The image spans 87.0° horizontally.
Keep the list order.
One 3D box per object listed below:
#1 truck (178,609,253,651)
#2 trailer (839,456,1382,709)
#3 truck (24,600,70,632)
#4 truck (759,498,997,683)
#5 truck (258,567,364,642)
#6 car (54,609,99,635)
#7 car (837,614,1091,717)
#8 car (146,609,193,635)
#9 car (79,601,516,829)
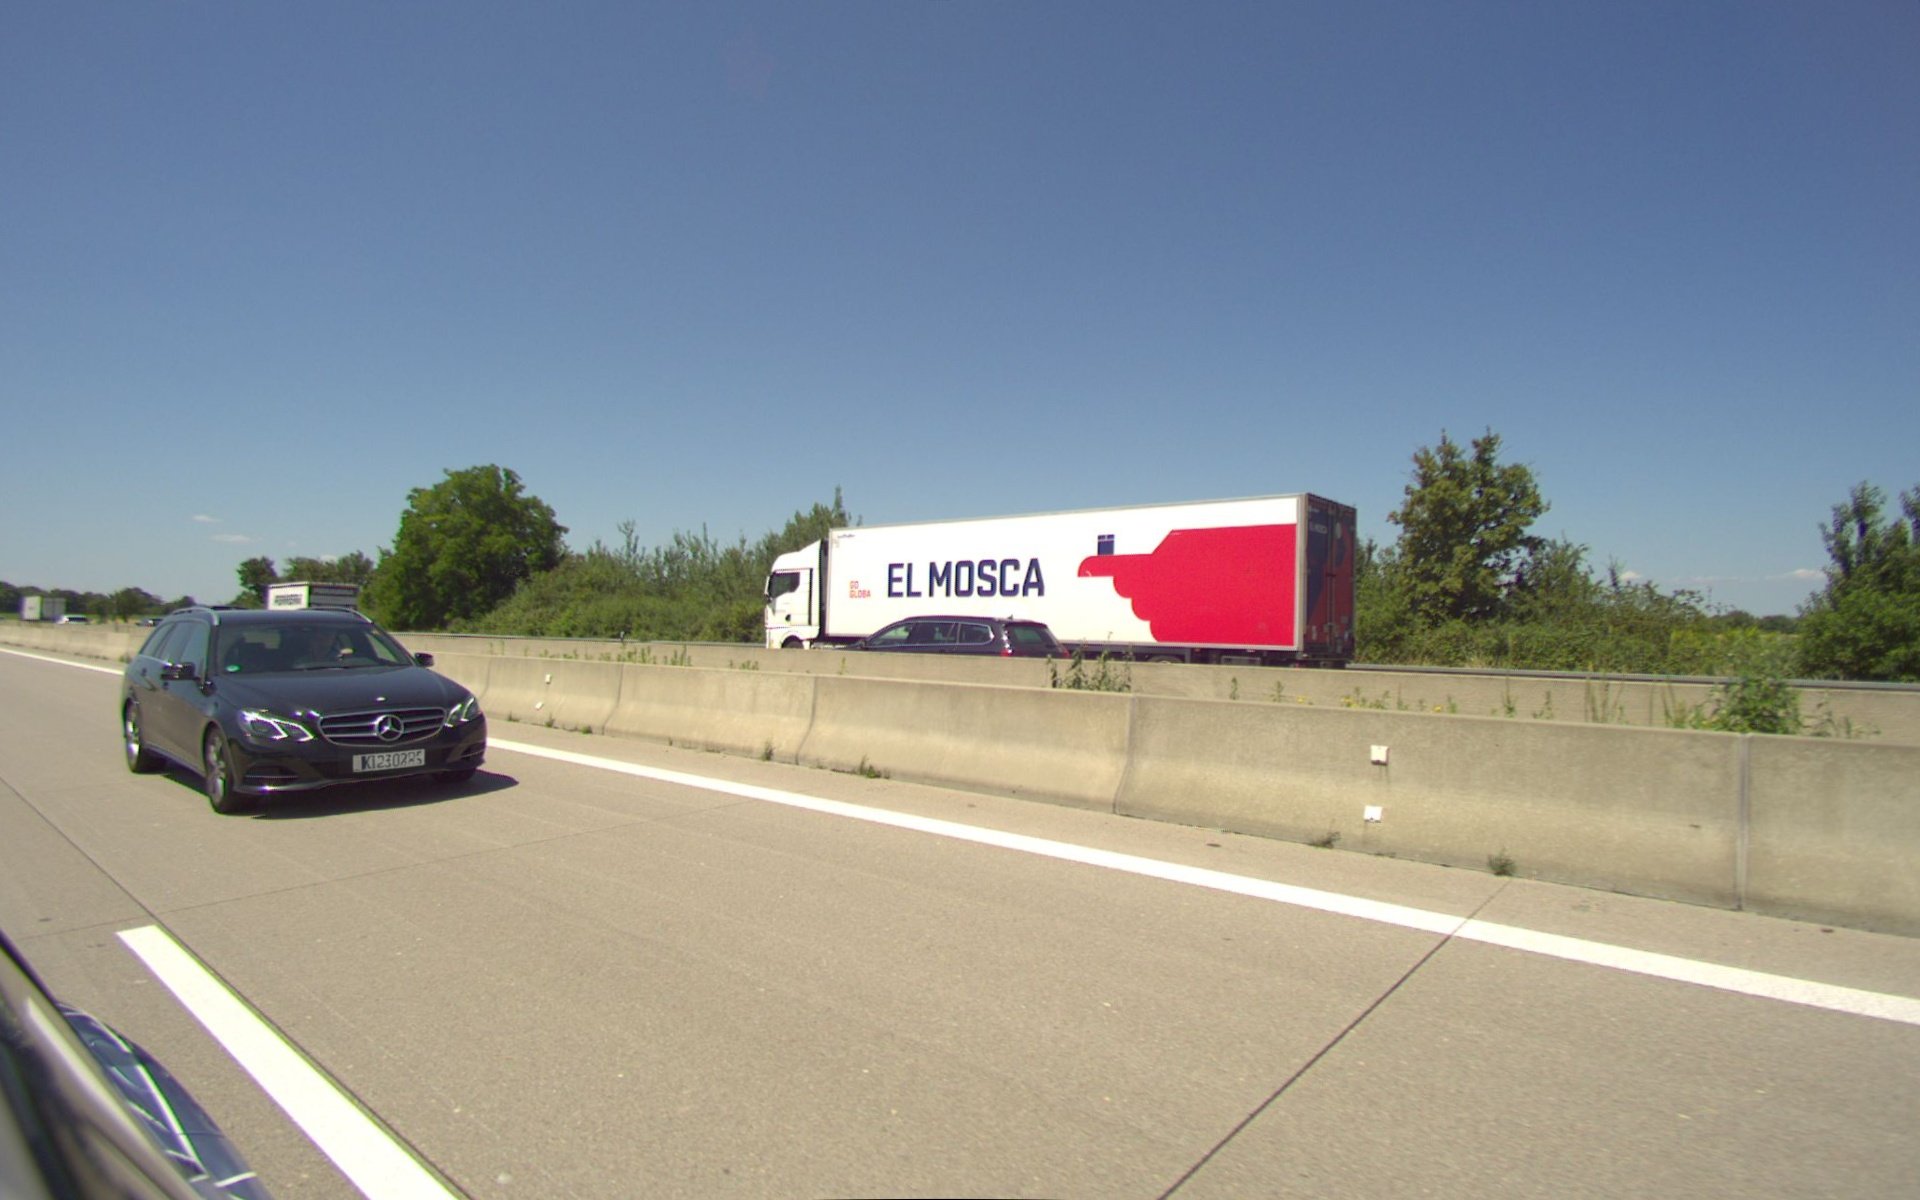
[{"bbox_3d":[-32.682,1.287,44.409,3.948,1.773,1.842,-1,-1,41],"label":"truck"},{"bbox_3d":[2.619,-0.223,23.698,13.229,4.572,2.772,-1,-2,42],"label":"trailer"},{"bbox_3d":[-117.432,2.043,130.083,7.516,4.030,3.523,-1,0,41],"label":"truck"},{"bbox_3d":[-2.418,-0.181,28.180,6.659,4.572,2.773,-1,-2,41],"label":"truck"},{"bbox_3d":[-38.868,0.343,60.500,8.124,4.206,3.198,-1,-2,41],"label":"truck"},{"bbox_3d":[-62.261,1.570,71.292,3.948,1.773,1.842,-1,-1,41],"label":"car"},{"bbox_3d":[-0.012,0.936,15.817,3.806,1.411,1.722,-1,-1,41],"label":"car"},{"bbox_3d":[-54.949,1.542,70.322,3.948,1.773,1.842,-1,-1,41],"label":"car"},{"bbox_3d":[-6.237,0.793,9.157,5.601,1.484,1.871,-1,-1,41],"label":"car"}]
